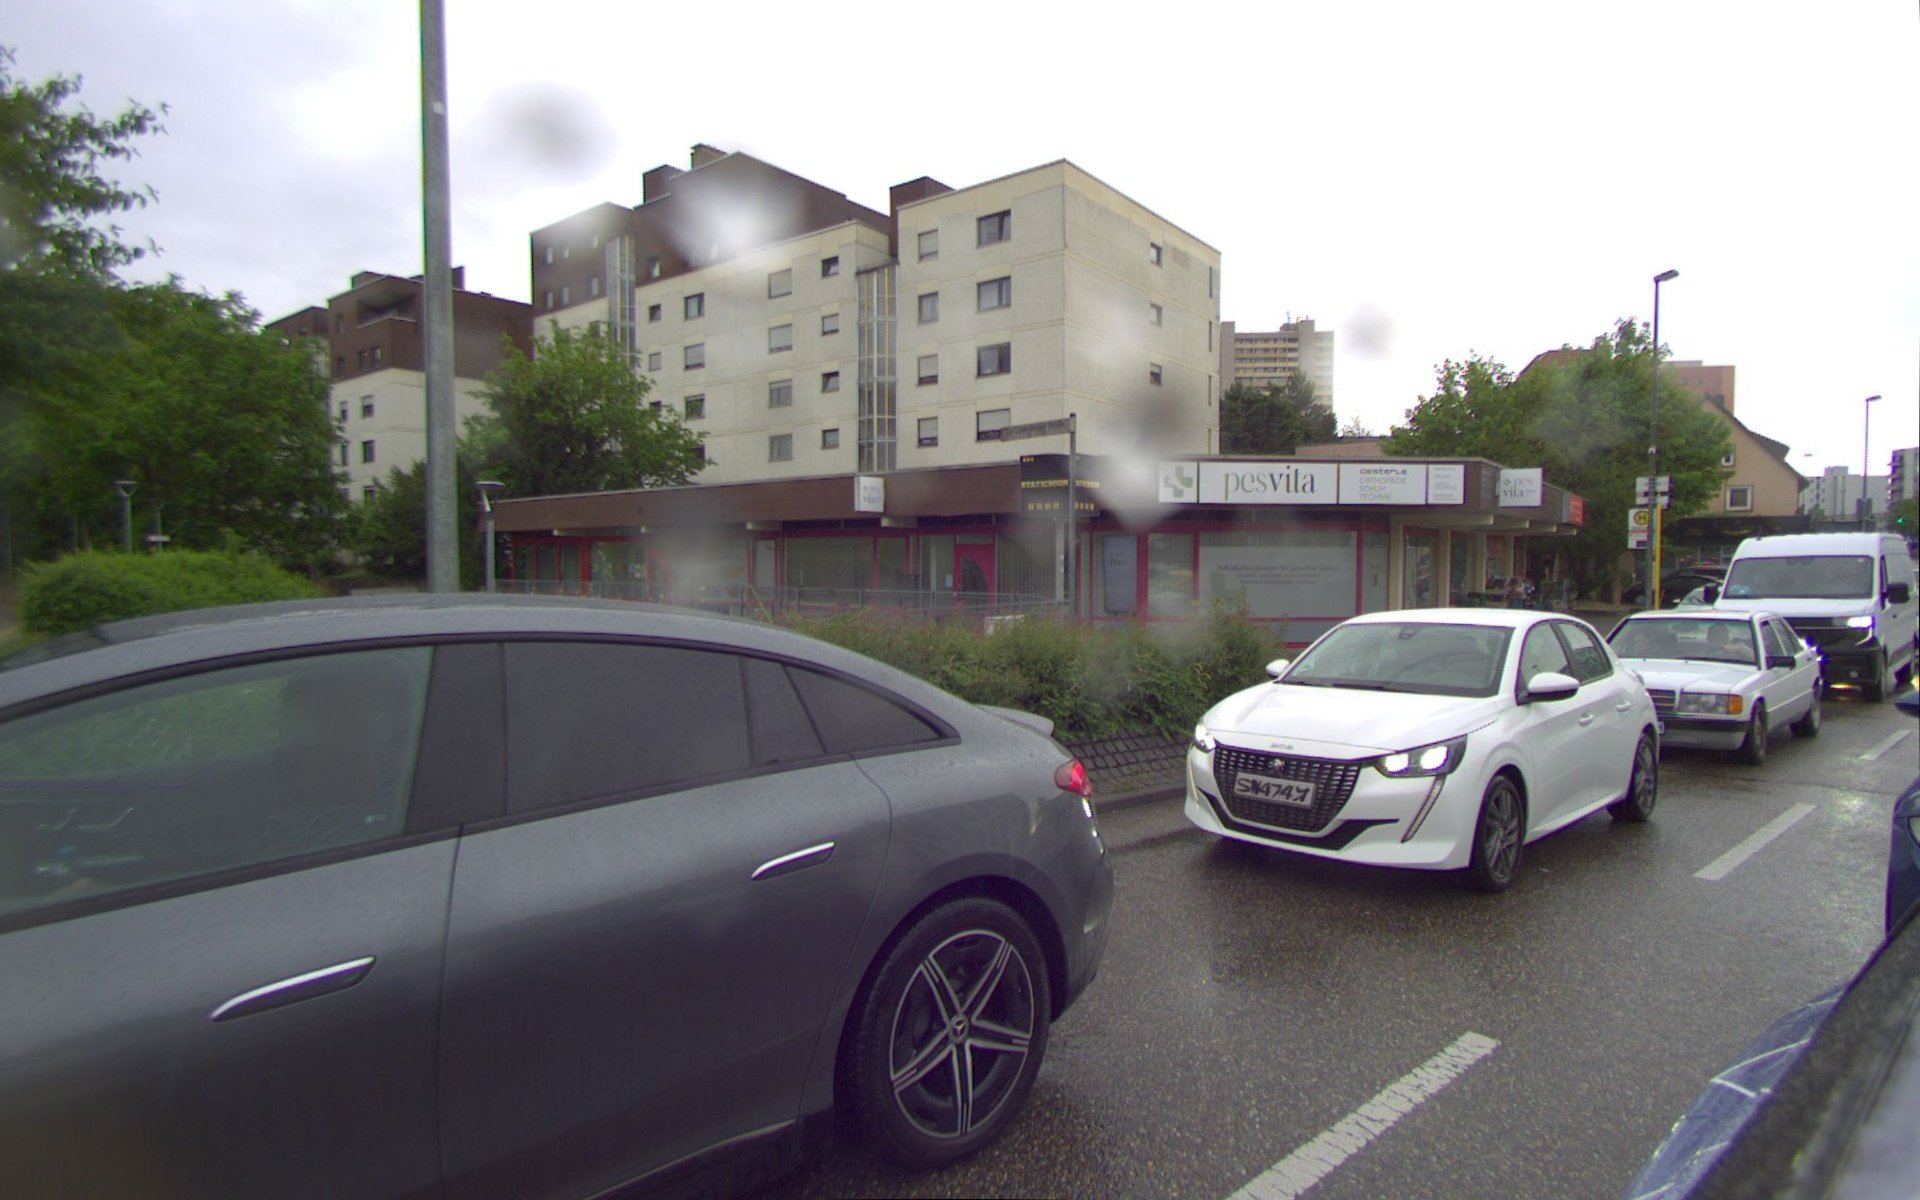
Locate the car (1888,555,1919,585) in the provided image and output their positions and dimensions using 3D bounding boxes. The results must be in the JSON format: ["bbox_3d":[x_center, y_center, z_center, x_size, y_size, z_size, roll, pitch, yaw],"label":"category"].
[{"bbox_3d":[59.157,-1.837,62.734,3.930,1.776,1.879,0,3,-41],"label":"car"}]

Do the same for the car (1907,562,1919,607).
[{"bbox_3d":[45.171,-0.718,46.492,3.930,2.038,1.998,-1,3,-40],"label":"car"}]

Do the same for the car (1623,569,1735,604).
[{"bbox_3d":[32.113,-0.632,45.221,3.981,1.445,1.858,2,2,39],"label":"car"}]

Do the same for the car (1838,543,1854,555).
[{"bbox_3d":[139.495,-8.014,159.389,1.657,1.654,3.754,1,1,37],"label":"car"}]

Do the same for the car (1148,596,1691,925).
[{"bbox_3d":[3.137,0.712,6.506,4.043,1.433,1.665,-1,1,-41],"label":"car"}]

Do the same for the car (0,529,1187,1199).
[{"bbox_3d":[-1.632,0.648,2.412,4.724,1.485,1.840,0,-1,-41],"label":"car"}]

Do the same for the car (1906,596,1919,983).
[{"bbox_3d":[5.477,0.684,4.436,3.933,1.406,1.690,-1,1,-43],"label":"car"}]

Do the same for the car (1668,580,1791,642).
[{"bbox_3d":[20.267,0.234,26.602,3.930,1.509,1.787,-1,1,-41],"label":"car"}]

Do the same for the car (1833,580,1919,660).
[{"bbox_3d":[20.199,0.366,21.616,3.930,1.558,1.802,-1,2,-41],"label":"car"}]

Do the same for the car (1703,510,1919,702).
[{"bbox_3d":[13.987,0.004,16.321,6.021,2.549,2.194,-2,2,-43],"label":"car"}]

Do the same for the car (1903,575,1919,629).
[{"bbox_3d":[30.714,0.027,31.303,3.933,1.588,1.996,-2,1,-43],"label":"car"}]

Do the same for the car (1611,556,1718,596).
[{"bbox_3d":[33.136,-1.126,47.633,3.981,1.801,1.858,2,2,39],"label":"car"}]

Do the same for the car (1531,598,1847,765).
[{"bbox_3d":[7.728,0.687,10.590,4.089,1.362,1.787,-1,1,-41],"label":"car"}]
